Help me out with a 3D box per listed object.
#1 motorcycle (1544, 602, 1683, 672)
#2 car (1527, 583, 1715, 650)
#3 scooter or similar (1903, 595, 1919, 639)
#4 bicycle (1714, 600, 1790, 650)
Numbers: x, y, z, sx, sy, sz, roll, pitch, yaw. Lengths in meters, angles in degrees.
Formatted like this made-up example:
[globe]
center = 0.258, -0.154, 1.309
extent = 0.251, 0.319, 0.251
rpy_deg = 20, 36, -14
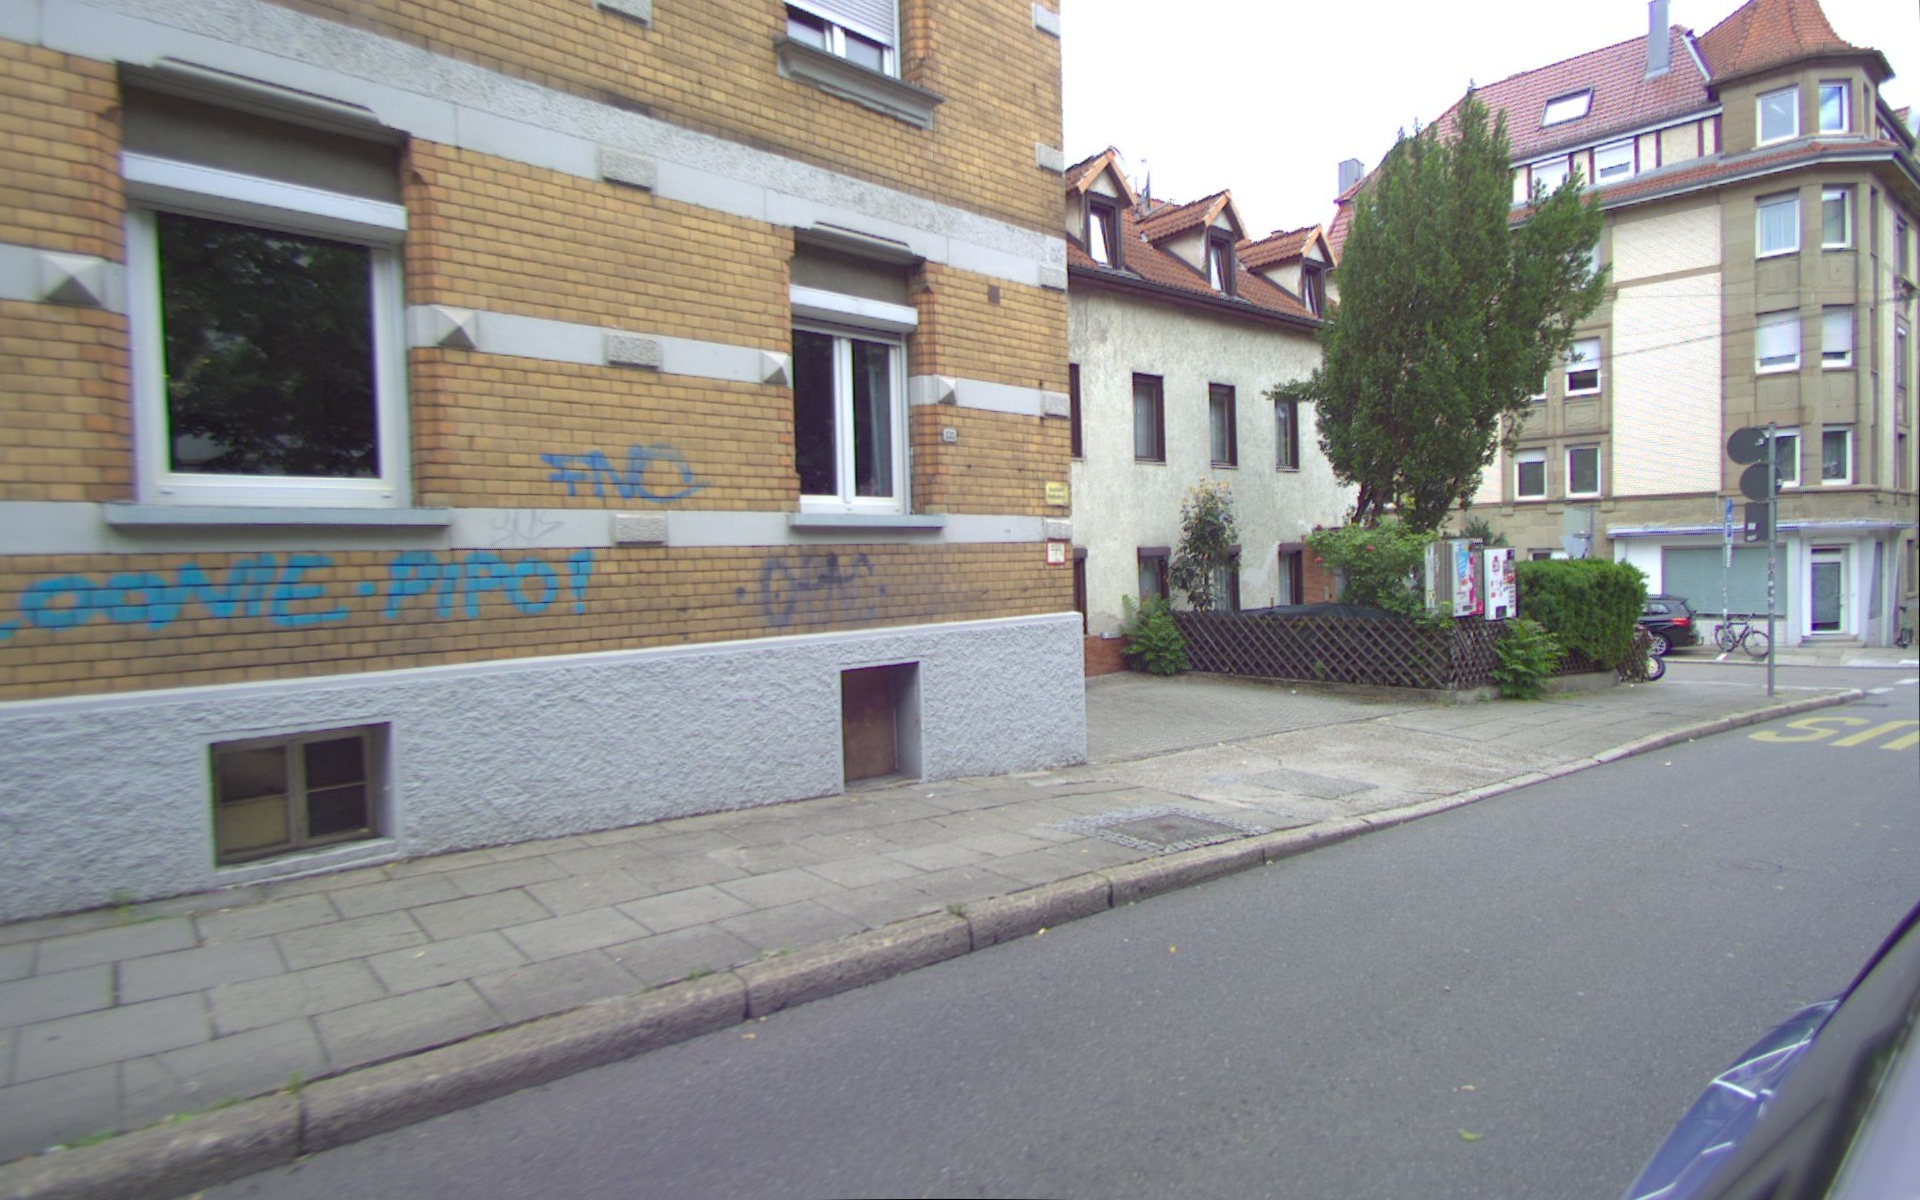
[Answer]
[motorcycle]
center = 12.657, 0.693, 19.645
extent = 0.993, 1.284, 2.058
rpy_deg = 0, -1, -42
[car]
center = 19.095, 0.461, 29.327
extent = 4.358, 1.665, 1.762
rpy_deg = -1, 4, 41
[scooter or similar]
center = 27.847, 0.509, 29.426
extent = 1.124, 1.225, 0.411
rpy_deg = 4, 0, -39
[bicycle]
center = 21.599, 0.660, 27.648
extent = 0.631, 1.153, 2.072
rpy_deg = -3, 4, 8
